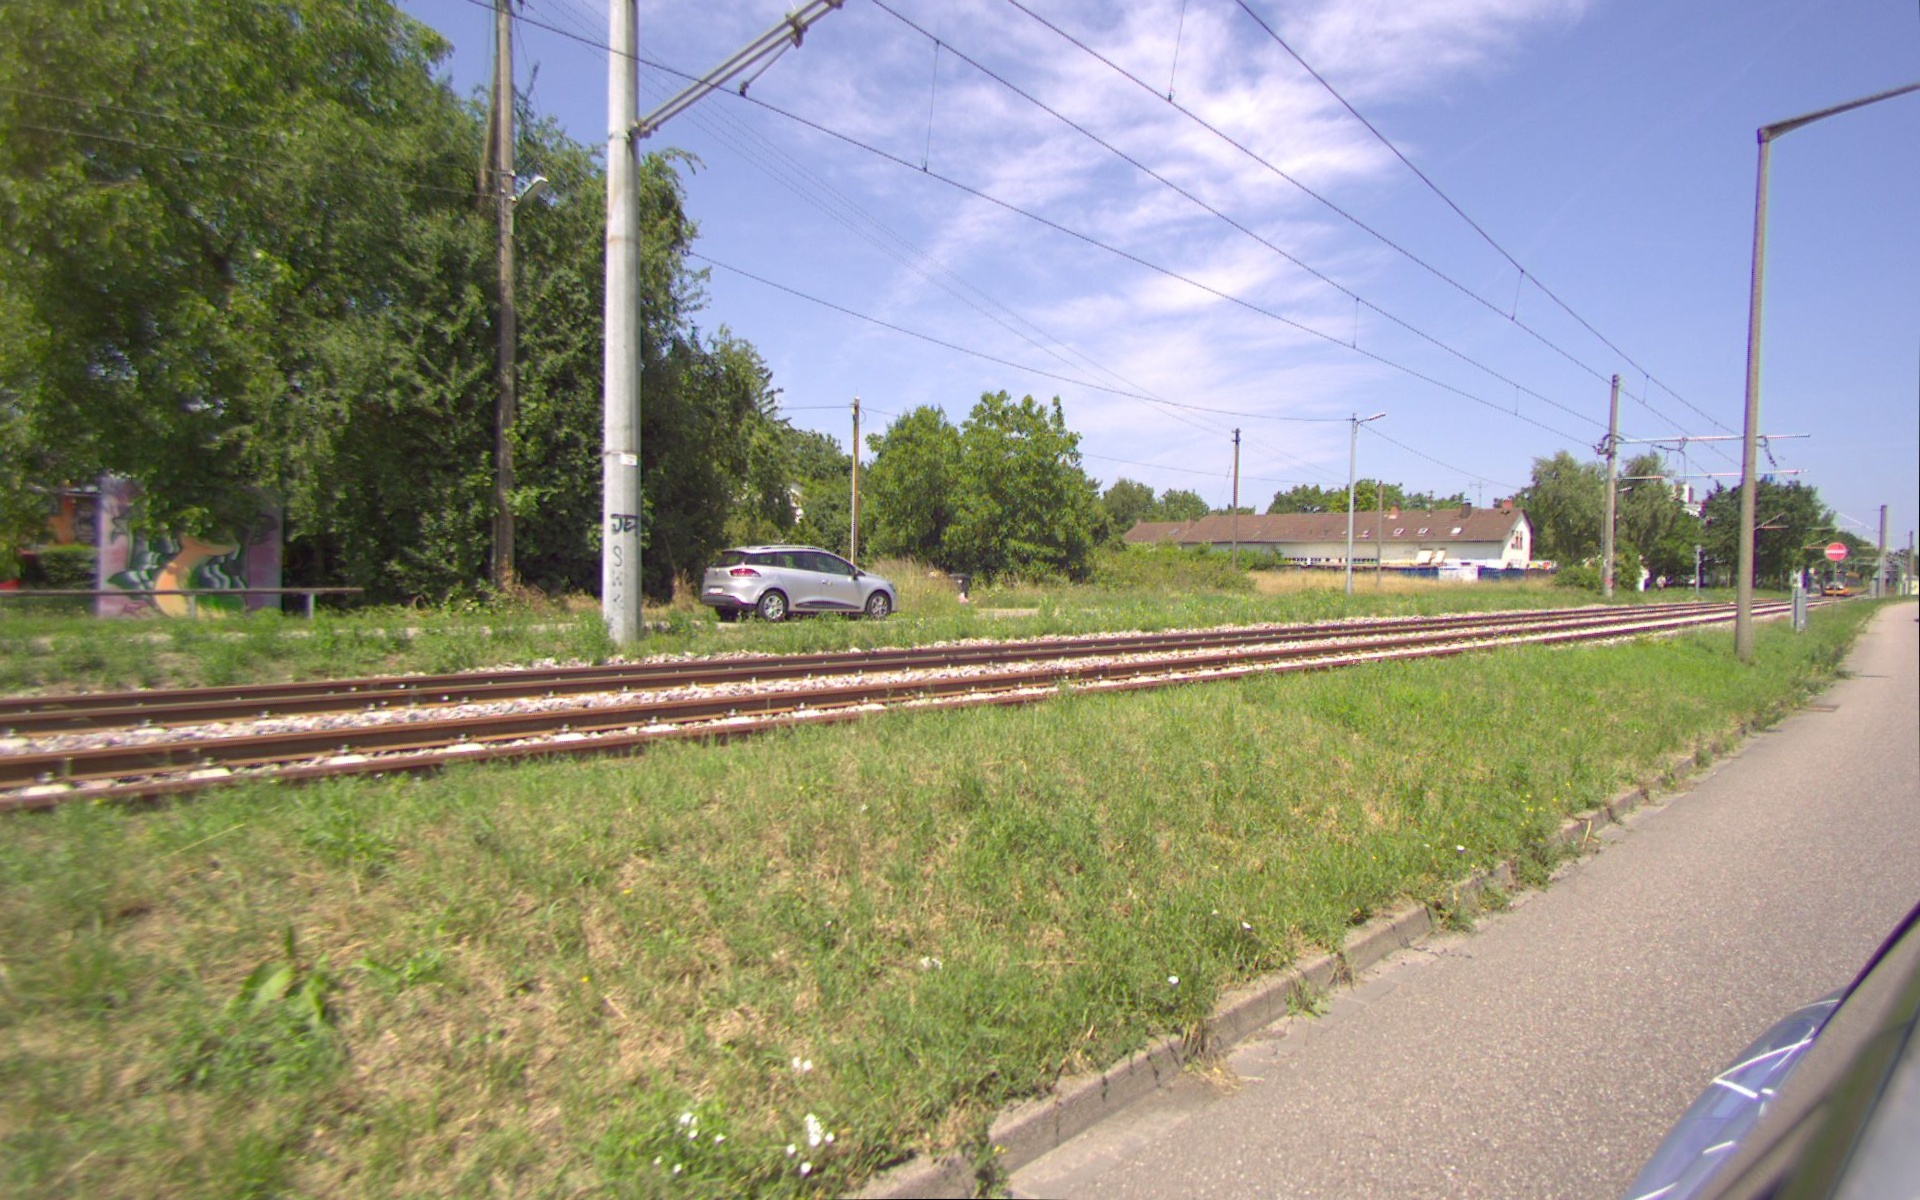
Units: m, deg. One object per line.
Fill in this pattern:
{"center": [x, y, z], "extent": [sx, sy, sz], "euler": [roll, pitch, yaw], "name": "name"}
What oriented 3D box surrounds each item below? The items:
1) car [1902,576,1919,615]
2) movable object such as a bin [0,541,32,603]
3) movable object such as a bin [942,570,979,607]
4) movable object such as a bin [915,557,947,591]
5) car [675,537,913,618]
{"center": [38.943, -0.188, 40.561], "extent": [3.302, 1.449, 1.508], "euler": [-2, 3, -43], "name": "car"}
{"center": [-25.071, -0.730, 26.277], "extent": [1.225, 1.591, 0.920], "euler": [-1, 2, -29], "name": "movable object such as a bin"}
{"center": [0.005, -0.321, 27.412], "extent": [0.764, 0.946, 0.805], "euler": [-1, 2, -21], "name": "movable object such as a bin"}
{"center": [-0.815, -0.737, 28.371], "extent": [0.786, 0.946, 0.450], "euler": [-1, 2, -21], "name": "movable object such as a bin"}
{"center": [-3.192, -0.497, 20.097], "extent": [4.473, 1.431, 1.683], "euler": [-2, 3, -42], "name": "car"}
